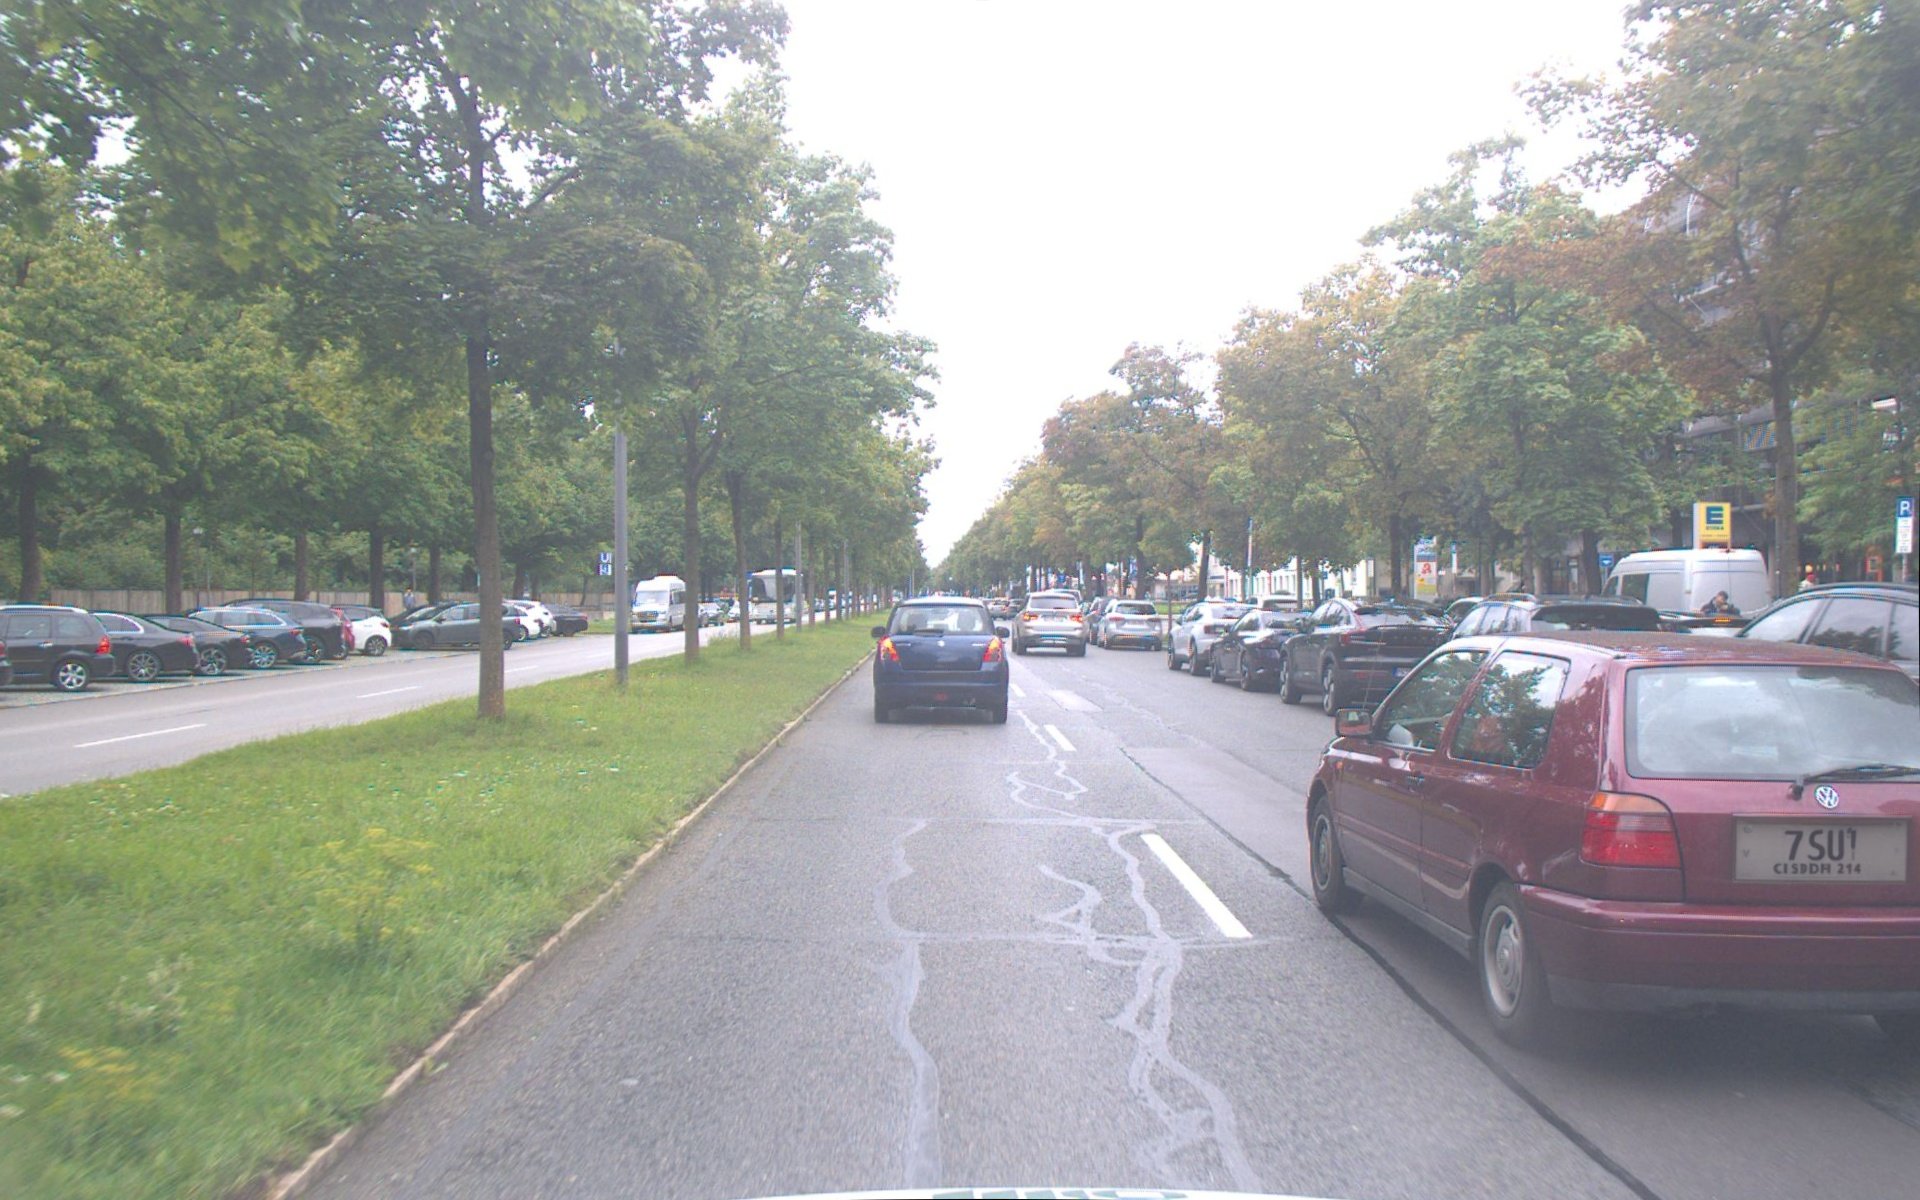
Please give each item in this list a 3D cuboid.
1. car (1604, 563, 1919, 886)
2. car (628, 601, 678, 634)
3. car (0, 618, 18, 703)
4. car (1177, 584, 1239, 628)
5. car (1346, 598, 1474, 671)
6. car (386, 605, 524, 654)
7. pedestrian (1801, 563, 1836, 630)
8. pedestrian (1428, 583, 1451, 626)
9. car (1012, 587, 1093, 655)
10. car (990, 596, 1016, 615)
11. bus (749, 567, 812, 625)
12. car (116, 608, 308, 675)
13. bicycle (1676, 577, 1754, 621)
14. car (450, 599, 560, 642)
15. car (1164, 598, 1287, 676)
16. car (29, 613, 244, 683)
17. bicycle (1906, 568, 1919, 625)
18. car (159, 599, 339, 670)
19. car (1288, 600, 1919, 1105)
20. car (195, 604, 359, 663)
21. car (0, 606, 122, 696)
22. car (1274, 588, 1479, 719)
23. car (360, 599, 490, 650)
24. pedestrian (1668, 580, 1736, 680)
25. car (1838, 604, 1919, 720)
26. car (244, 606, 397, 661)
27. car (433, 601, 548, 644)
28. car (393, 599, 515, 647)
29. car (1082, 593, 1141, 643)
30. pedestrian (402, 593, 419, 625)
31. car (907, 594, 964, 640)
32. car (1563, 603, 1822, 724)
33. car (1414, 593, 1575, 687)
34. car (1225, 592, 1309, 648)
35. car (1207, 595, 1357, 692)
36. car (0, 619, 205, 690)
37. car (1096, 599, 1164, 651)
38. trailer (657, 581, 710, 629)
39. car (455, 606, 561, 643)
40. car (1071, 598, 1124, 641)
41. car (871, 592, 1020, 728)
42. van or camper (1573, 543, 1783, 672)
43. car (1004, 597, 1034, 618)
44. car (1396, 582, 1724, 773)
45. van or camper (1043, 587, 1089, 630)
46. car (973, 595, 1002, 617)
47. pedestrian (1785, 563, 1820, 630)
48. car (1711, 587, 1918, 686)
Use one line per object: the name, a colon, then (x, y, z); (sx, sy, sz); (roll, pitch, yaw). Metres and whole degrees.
car: (5.986, 0.654, 10.724); (1.725, 1.730, 4.819); (0, 0, 0)
car: (-15.540, 0.869, 83.808); (1.875, 1.569, 4.186); (-1, 0, -2)
car: (-18.443, 1.069, 27.834); (4.205, 1.447, 1.890); (-1, 0, -42)
car: (9.309, 0.217, 62.241); (1.650, 1.613, 4.027); (0, 0, -1)
car: (9.652, 0.697, 35.795); (1.650, 1.479, 4.008); (0, 0, -1)
car: (-17.368, 0.993, 56.974); (4.146, 1.569, 1.893); (-1, 0, -39)
pedestrian: (24.248, -0.094, 46.724); (0.664, 1.862, 0.541); (-1, 0, -13)
pedestrian: (19.733, 0.192, 68.042); (0.732, 1.736, 0.702); (-1, 0, -1)
car: (2.477, 0.539, 45.136); (1.813, 1.773, 4.095); (0, 0, -2)
car: (3.406, 0.447, 131.992); (1.813, 1.472, 4.095); (0, 0, -2)
bus: (-11.512, -0.282, 106.941); (2.682, 3.436, 12.012); (-2, 0, 0)
car: (-18.392, 0.988, 40.721); (4.059, 1.495, 1.896); (-1, 0, -35)
bicycle: (27.431, -0.041, 60.110); (2.560, 1.534, 0.797); (-1, 0, -7)
car: (-18.987, 0.845, 69.085); (4.059, 1.681, 1.896); (-1, 0, -35)
car: (5.533, 0.731, 34.980); (1.672, 1.479, 4.510); (2, 0, -2)
car: (-18.560, 1.037, 37.331); (4.149, 1.434, 1.896); (-1, 0, -35)
bicycle: (26.822, -0.113, 44.913); (2.583, 1.534, 0.790); (-1, 0, -31)
car: (-18.630, 0.866, 43.373); (4.059, 1.709, 1.896); (-1, 0, -35)
car: (2.605, 0.748, 6.909); (1.589, 1.479, 3.948); (0, 0, -1)
car: (-19.297, 0.913, 46.759); (4.054, 1.527, 1.899); (-1, 0, -32)
car: (-18.165, 0.953, 31.005); (4.070, 1.625, 1.891); (-1, 0, -40)
car: (5.792, 0.681, 23.537); (1.728, 1.680, 4.423); (0, 0, -1)
car: (-19.086, 0.858, 59.065); (4.059, 1.725, 1.896); (-1, 0, -35)
pedestrian: (14.284, 0.562, 31.860); (0.857, 1.883, 0.903); (1, 0, -2)
car: (13.239, 0.803, 20.899); (1.650, 1.479, 4.837); (0, 0, -1)
car: (-19.271, 0.980, 49.868); (4.054, 1.527, 1.899); (-1, 0, -32)
car: (-18.726, 0.883, 66.066); (4.059, 1.612, 1.896); (-1, 0, -35)
car: (-19.092, 0.839, 62.423); (4.059, 1.725, 1.896); (-1, 0, -35)
car: (5.278, 0.615, 57.944); (1.650, 1.654, 4.306); (1, 0, 0)
pedestrian: (-28.128, 0.452, 84.673); (0.671, 1.640, 0.685); (0, 0, -32)
car: (-0.862, 0.552, 55.418); (1.813, 1.472, 4.095); (0, 0, -2)
car: (10.066, 0.807, 23.063); (1.712, 1.504, 4.007); (0, 0, -2)
car: (9.778, 0.691, 30.560); (1.650, 1.613, 4.008); (0, 0, -1)
car: (9.473, 0.588, 51.386); (1.650, 1.661, 4.779); (0, 0, -1)
car: (5.610, 0.705, 29.323); (1.728, 1.573, 4.423); (0, 0, -1)
car: (-18.195, 1.104, 34.558); (4.153, 1.345, 1.896); (-1, 0, -35)
car: (5.347, 0.761, 52.437); (1.650, 1.552, 4.455); (1, 0, 0)
trailer: (-15.560, 0.265, 93.225); (2.063, 2.585, 5.575); (-1, 0, -1)
car: (-19.569, 1.040, 71.649); (4.059, 1.500, 1.896); (-1, 0, -35)
car: (5.212, 0.715, 63.104); (1.650, 1.581, 4.306); (0, 0, 0)
car: (-0.254, 0.698, 21.496); (1.753, 1.583, 3.998); (0, 0, -2)
van or camper: (15.638, 0.140, 36.469); (1.983, 2.602, 5.956); (-1, 0, -1)
car: (4.176, 0.528, 118.160); (1.813, 1.472, 4.095); (0, 0, -2)
car: (5.905, 0.679, 16.863); (1.687, 1.680, 4.388); (0, 0, -1)
van or camper: (5.103, 0.392, 80.126); (1.905, 2.009, 4.306); (0, 0, 0)
car: (1.886, 0.385, 114.394); (1.813, 1.472, 4.095); (0, 0, -2)
pedestrian: (23.591, -0.089, 46.328); (0.547, 1.862, 0.679); (-1, 0, -12)
car: (15.604, 0.622, 30.448); (1.712, 1.693, 4.008); (0, 0, -1)
